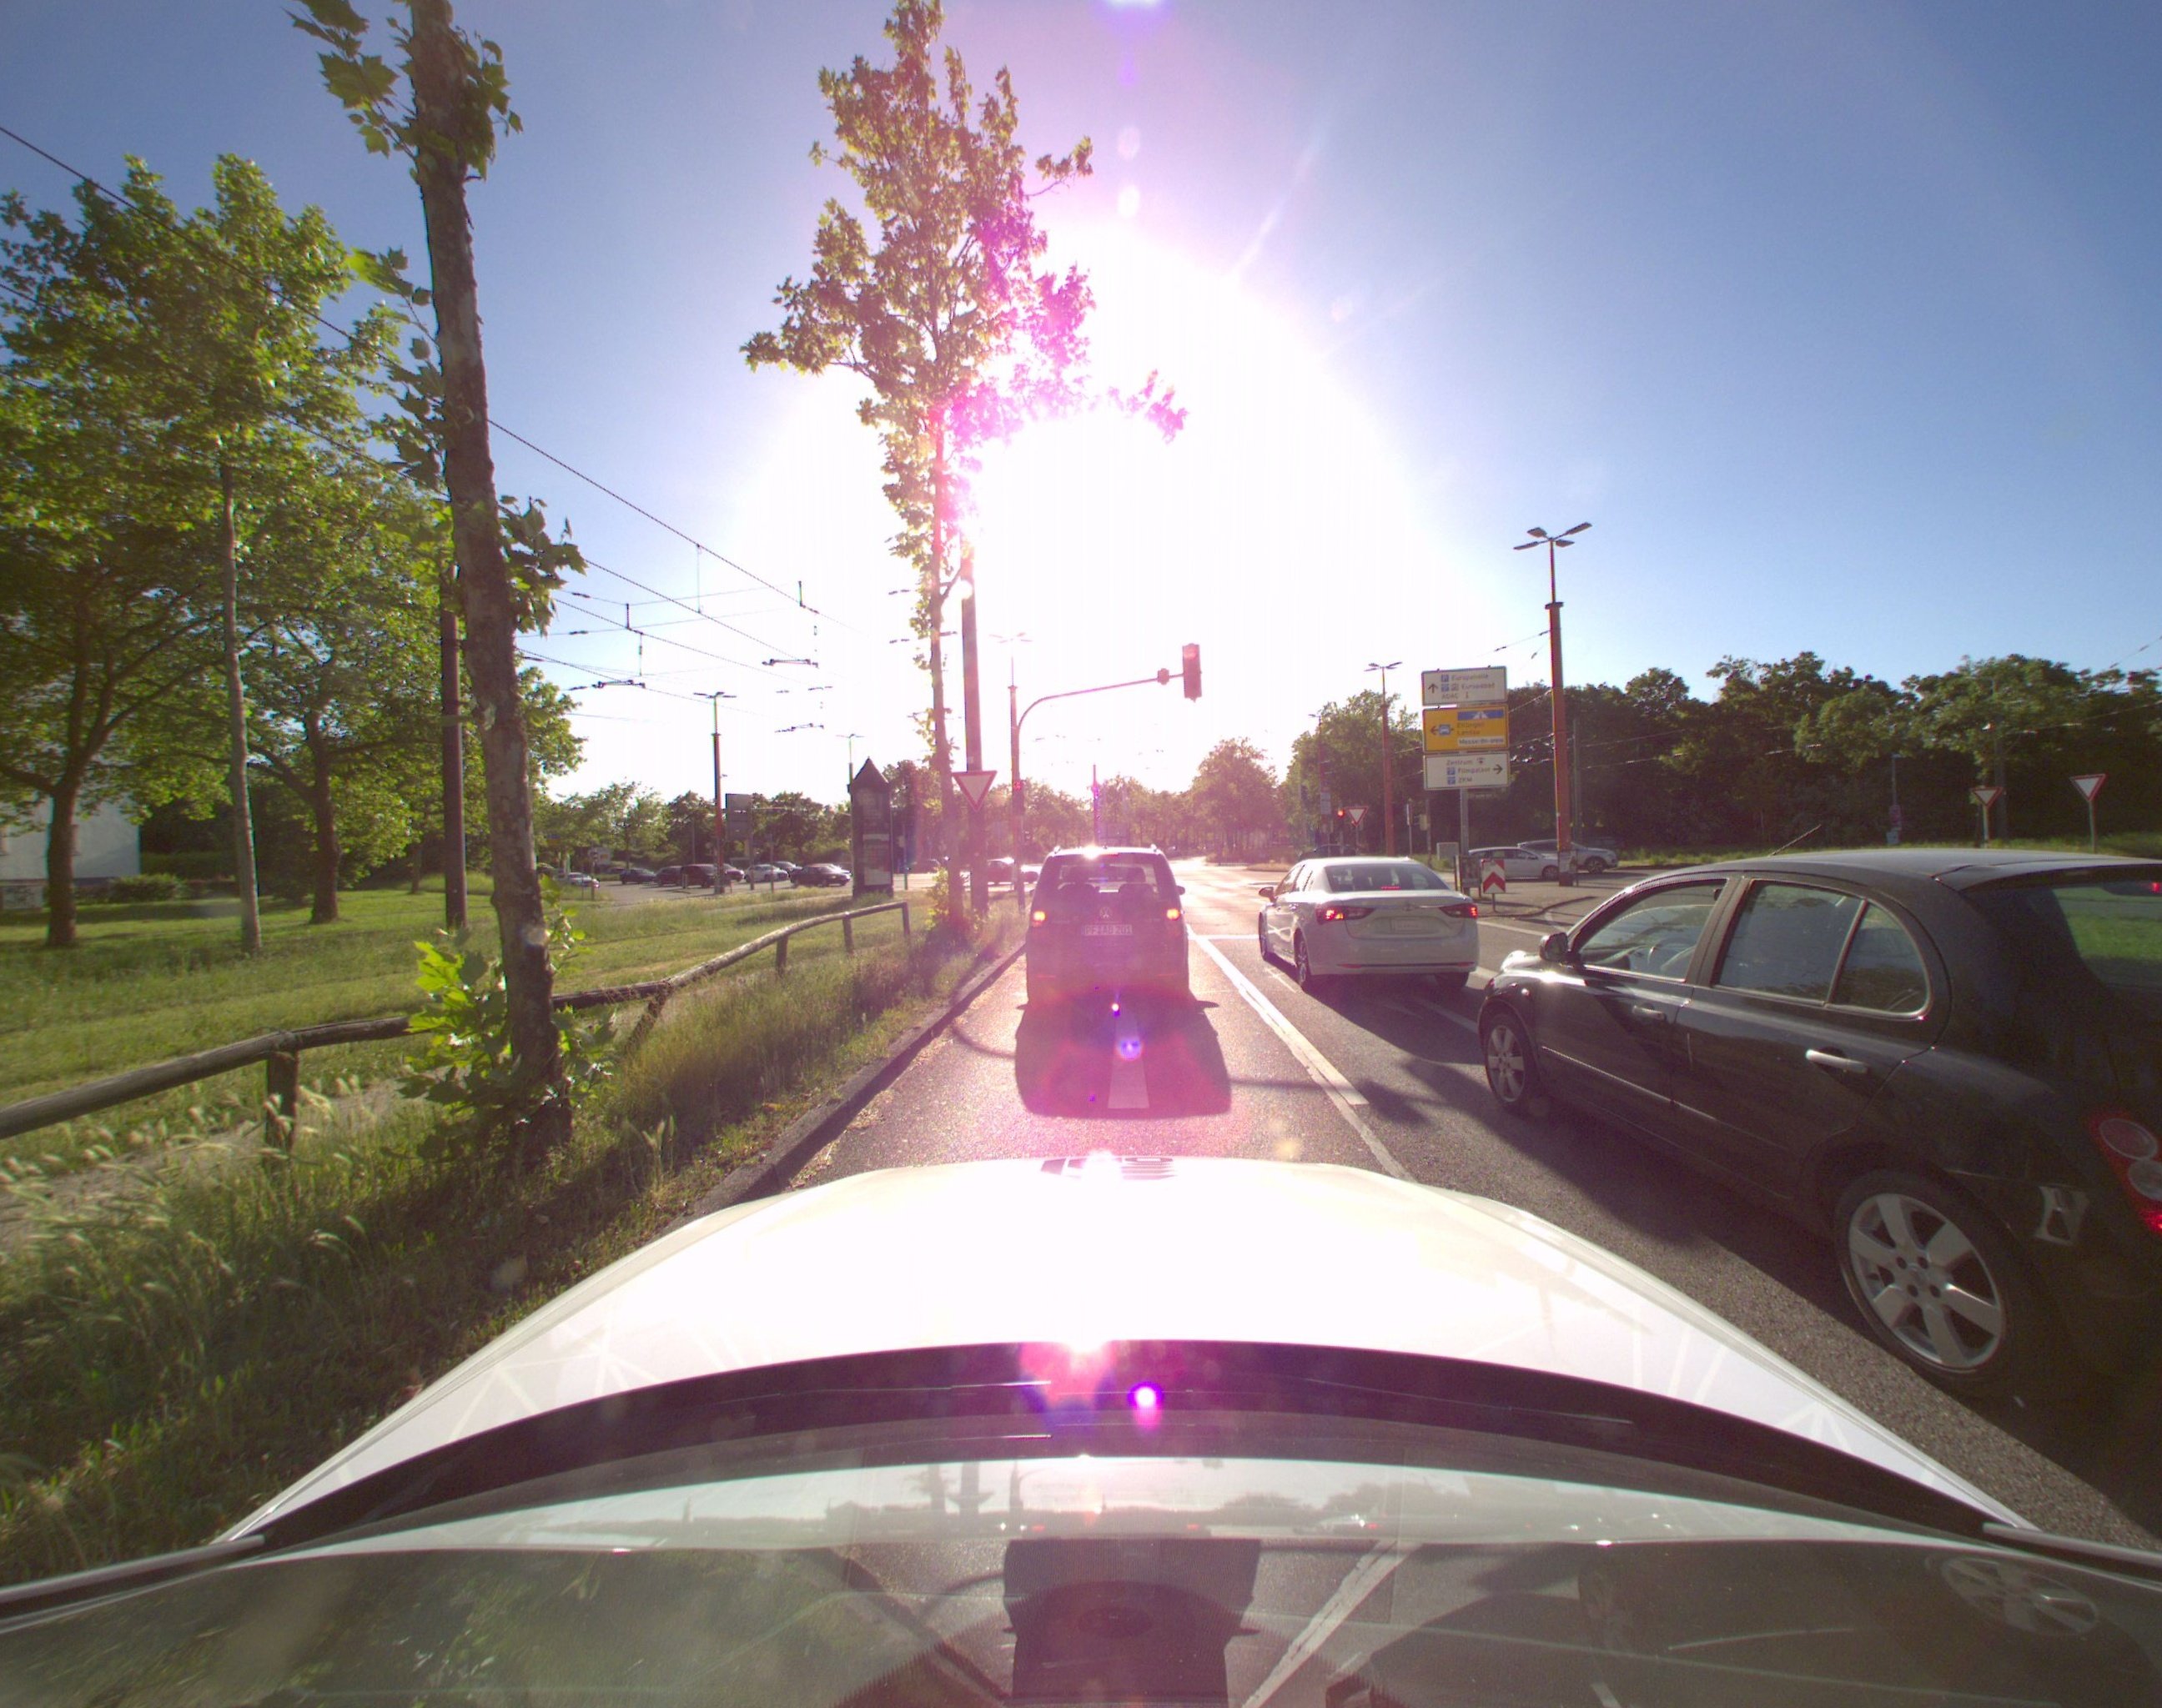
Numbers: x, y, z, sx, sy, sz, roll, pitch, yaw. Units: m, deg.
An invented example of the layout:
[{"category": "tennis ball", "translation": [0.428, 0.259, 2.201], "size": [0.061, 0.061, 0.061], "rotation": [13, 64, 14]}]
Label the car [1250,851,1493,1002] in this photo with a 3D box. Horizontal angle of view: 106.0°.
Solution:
[{"category": "car", "translation": [3.299, 0.719, 10.122], "size": [1.708, 1.454, 4.147], "rotation": [-2, 0, 3]}]

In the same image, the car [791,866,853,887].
[{"category": "car", "translation": [-17.865, 1.540, 56.125], "size": [4.262, 1.327, 1.773], "rotation": [-2, 0, 32]}]

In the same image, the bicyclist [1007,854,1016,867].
[{"category": "bicyclist", "translation": [-8.116, 0.764, 95.019], "size": [0.686, 1.457, 0.879], "rotation": [-2, -1, 20]}]

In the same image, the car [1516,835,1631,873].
[{"category": "car", "translation": [22.238, -0.005, 36.926], "size": [4.309, 1.581, 1.782], "rotation": [-2, 0, 30]}]

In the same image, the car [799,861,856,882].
[{"category": "car", "translation": [-19.201, 1.299, 61.553], "size": [4.179, 1.479, 1.765], "rotation": [-2, 0, 32]}]

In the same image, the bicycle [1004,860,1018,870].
[{"category": "bicycle", "translation": [-8.146, 1.230, 94.798], "size": [0.728, 1.090, 1.971], "rotation": [-2, 0, 21]}]

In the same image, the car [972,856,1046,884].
[{"category": "car", "translation": [-4.263, 0.942, 48.094], "size": [3.949, 1.494, 1.782], "rotation": [-2, 0, 29]}]

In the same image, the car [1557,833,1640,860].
[{"category": "car", "translation": [34.110, -0.484, 53.820], "size": [4.411, 1.596, 2.012], "rotation": [-2, 0, 28]}]

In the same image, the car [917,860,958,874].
[{"category": "car", "translation": [-17.352, 1.560, 98.302], "size": [4.473, 1.596, 1.984], "rotation": [-2, 0, -23]}]

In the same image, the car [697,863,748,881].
[{"category": "car", "translation": [-31.718, 1.570, 72.076], "size": [4.318, 1.464, 1.926], "rotation": [-2, 0, 29]}]

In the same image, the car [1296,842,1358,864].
[{"category": "car", "translation": [19.653, -0.081, 65.028], "size": [4.411, 1.596, 2.012], "rotation": [-2, 0, 28]}]

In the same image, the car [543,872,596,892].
[{"category": "car", "translation": [-44.807, 2.457, 71.371], "size": [4.866, 1.575, 2.013], "rotation": [-2, 0, 32]}]

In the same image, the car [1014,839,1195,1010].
[{"category": "car", "translation": [0.297, 0.695, 9.994], "size": [1.731, 1.641, 4.002], "rotation": [-2, 0, 2]}]

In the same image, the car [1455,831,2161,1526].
[{"category": "car", "translation": [3.169, 0.693, 3.518], "size": [1.550, 1.506, 3.517], "rotation": [-2, 0, 2]}]

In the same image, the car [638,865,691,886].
[{"category": "car", "translation": [-35.724, 1.854, 69.896], "size": [4.507, 1.668, 1.854], "rotation": [-2, 0, 30]}]

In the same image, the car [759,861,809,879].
[{"category": "car", "translation": [-26.532, 1.450, 72.661], "size": [4.169, 1.464, 1.926], "rotation": [-2, 0, 29]}]

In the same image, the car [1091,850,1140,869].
[{"category": "car", "translation": [3.125, 0.475, 74.376], "size": [3.949, 1.580, 2.012], "rotation": [-2, 0, 29]}]

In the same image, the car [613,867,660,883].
[{"category": "car", "translation": [-42.356, 1.986, 77.652], "size": [4.187, 1.464, 1.926], "rotation": [-2, 0, 28]}]

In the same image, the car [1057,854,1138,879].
[{"category": "car", "translation": [1.007, 0.766, 49.578], "size": [4.608, 1.362, 1.782], "rotation": [-2, 0, 31]}]

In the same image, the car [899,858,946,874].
[{"category": "car", "translation": [-16.489, 1.231, 84.574], "size": [4.411, 1.596, 2.012], "rotation": [-2, 0, 28]}]

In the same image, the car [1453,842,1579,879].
[{"category": "car", "translation": [18.791, 0.289, 35.245], "size": [4.709, 1.494, 1.782], "rotation": [-2, 0, 31]}]

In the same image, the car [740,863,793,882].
[{"category": "car", "translation": [-26.771, 1.592, 69.256], "size": [4.169, 1.464, 1.926], "rotation": [-2, 0, 29]}]
